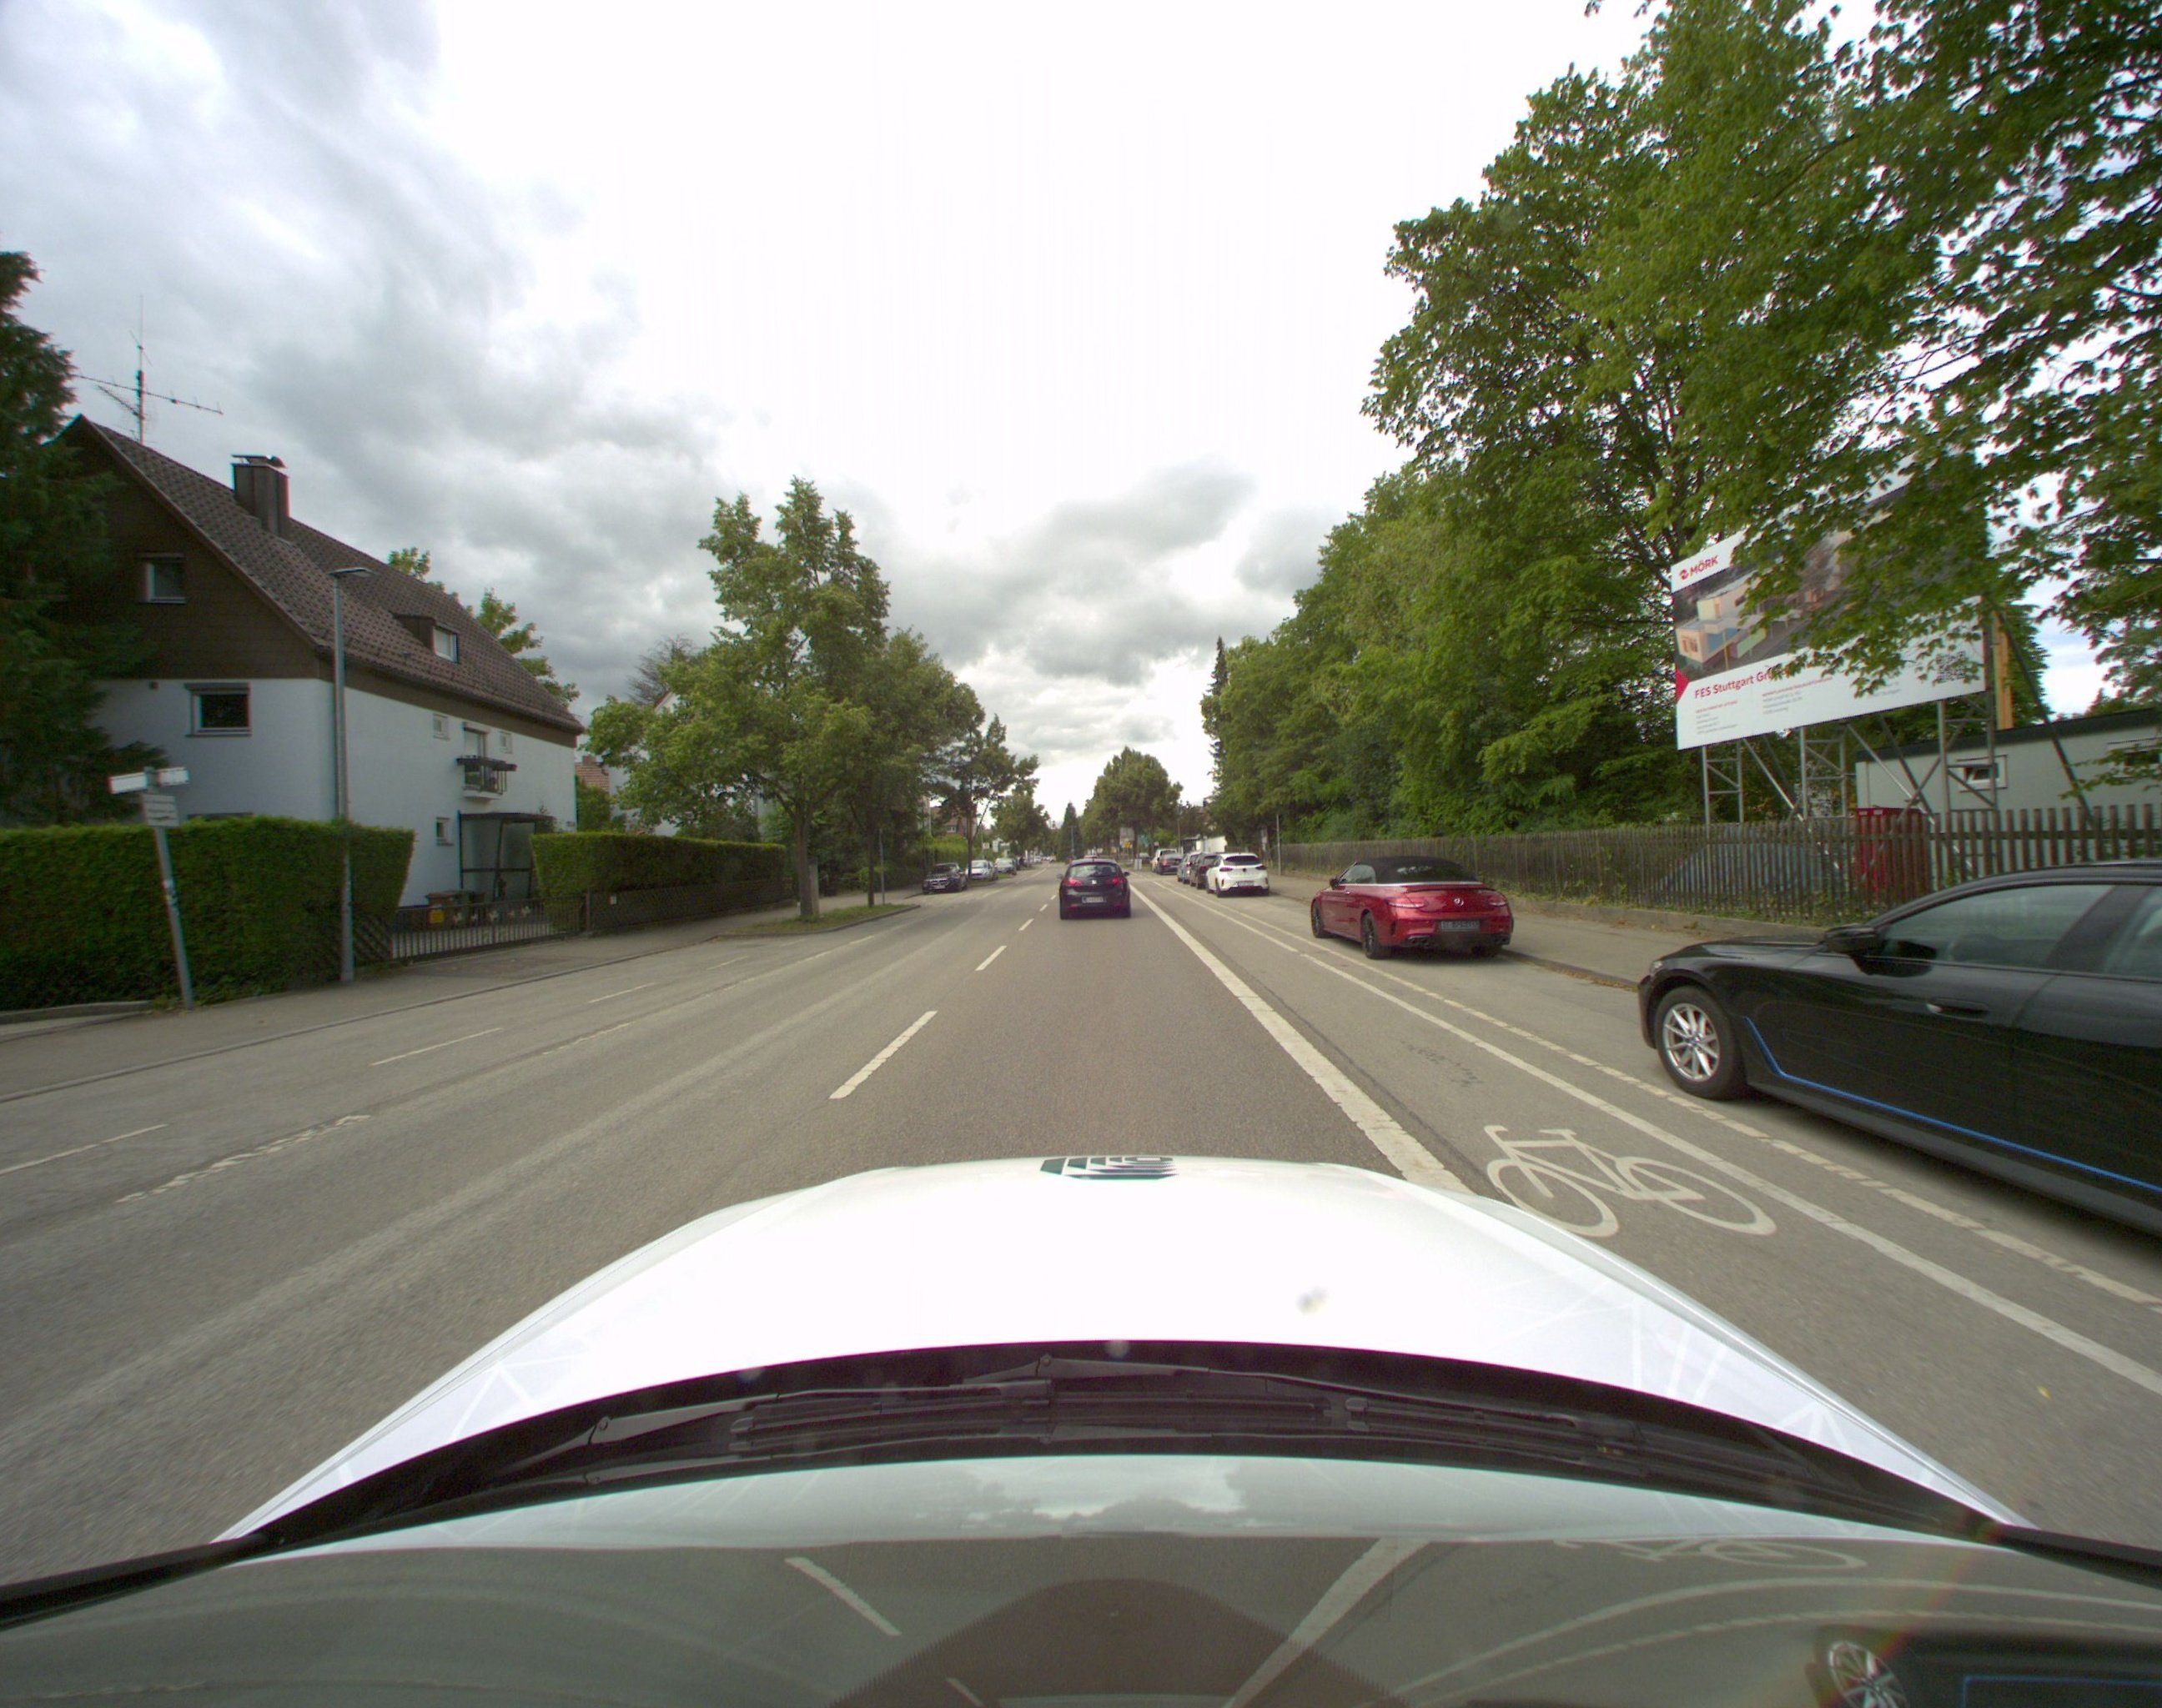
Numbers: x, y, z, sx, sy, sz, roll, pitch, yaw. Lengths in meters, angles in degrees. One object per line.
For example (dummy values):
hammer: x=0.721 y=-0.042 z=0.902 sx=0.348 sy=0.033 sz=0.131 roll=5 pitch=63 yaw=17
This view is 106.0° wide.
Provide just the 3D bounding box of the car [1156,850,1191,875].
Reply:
car: x=5.914 y=0.518 z=52.652 sx=1.856 sy=1.417 sz=4.605 roll=-2 pitch=0 yaw=2

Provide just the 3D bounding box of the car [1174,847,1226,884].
car: x=5.660 y=0.535 z=39.331 sx=1.855 sy=1.611 sz=4.687 roll=-1 pitch=0 yaw=1

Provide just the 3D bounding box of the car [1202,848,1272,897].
car: x=5.339 y=0.599 z=28.327 sx=1.761 sy=1.510 sz=4.033 roll=-2 pitch=-1 yaw=2

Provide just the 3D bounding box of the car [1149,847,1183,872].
car: x=6.097 y=0.379 z=58.913 sx=1.895 sy=1.642 sz=4.115 roll=-3 pitch=0 yaw=-1

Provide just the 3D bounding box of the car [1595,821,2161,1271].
car: x=4.545 y=0.635 z=3.472 sx=1.809 sy=1.515 sz=4.681 roll=-1 pitch=0 yaw=1

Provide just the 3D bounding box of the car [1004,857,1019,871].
car: x=-8.838 y=1.223 z=103.673 sx=1.720 sy=1.724 sz=4.561 roll=-2 pitch=0 yaw=-2

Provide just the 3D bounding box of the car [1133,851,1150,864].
car: x=7.063 y=0.472 z=95.962 sx=1.607 sy=1.377 sz=4.386 roll=-3 pitch=-1 yaw=0

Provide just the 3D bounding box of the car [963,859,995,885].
car: x=-7.071 y=1.221 z=56.696 sx=1.713 sy=1.613 sz=3.908 roll=-3 pitch=0 yaw=-1

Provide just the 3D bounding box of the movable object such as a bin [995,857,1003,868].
movable object such as a bin: x=-12.333 y=1.316 z=122.402 sx=1.203 sy=1.651 sz=0.997 roll=0 pitch=-1 yaw=-3

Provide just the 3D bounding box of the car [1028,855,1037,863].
car: x=-12.820 y=1.349 z=215.352 sx=2.025 sy=1.970 sz=3.995 roll=-3 pitch=0 yaw=-3

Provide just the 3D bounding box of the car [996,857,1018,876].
car: x=-6.780 y=1.118 z=74.539 sx=1.673 sy=1.552 sz=4.269 roll=-3 pitch=0 yaw=-2

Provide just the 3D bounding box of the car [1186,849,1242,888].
car: x=5.510 y=0.553 z=34.113 sx=1.695 sy=1.510 sz=4.539 roll=-1 pitch=0 yaw=2

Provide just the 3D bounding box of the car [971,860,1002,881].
car: x=-7.439 y=1.279 z=64.397 sx=1.989 sy=1.485 sz=4.885 roll=-4 pitch=0 yaw=-3

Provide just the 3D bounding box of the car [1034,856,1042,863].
car: x=-10.360 y=1.312 z=197.380 sx=1.793 sy=1.601 sz=3.997 roll=-3 pitch=0 yaw=-2

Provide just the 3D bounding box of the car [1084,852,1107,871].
car: x=1.294 y=0.638 z=74.974 sx=1.987 sy=1.613 sz=4.000 roll=-2 pitch=0 yaw=1

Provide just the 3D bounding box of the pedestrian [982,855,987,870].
pedestrian: x=-11.493 y=1.035 z=97.108 sx=0.502 sy=1.806 sz=0.671 roll=-3 pitch=0 yaw=-1

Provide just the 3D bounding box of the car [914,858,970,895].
car: x=-7.131 y=1.113 z=42.221 sx=2.090 sy=1.647 sz=5.034 roll=-4 pitch=0 yaw=-2

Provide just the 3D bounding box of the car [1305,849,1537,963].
car: x=4.951 y=0.655 z=12.623 sx=1.852 sy=1.413 sz=4.445 roll=0 pitch=1 yaw=1

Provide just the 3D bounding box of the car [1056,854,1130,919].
car: x=0.362 y=0.763 z=21.043 sx=1.725 sy=1.486 sz=4.002 roll=-1 pitch=0 yaw=2
